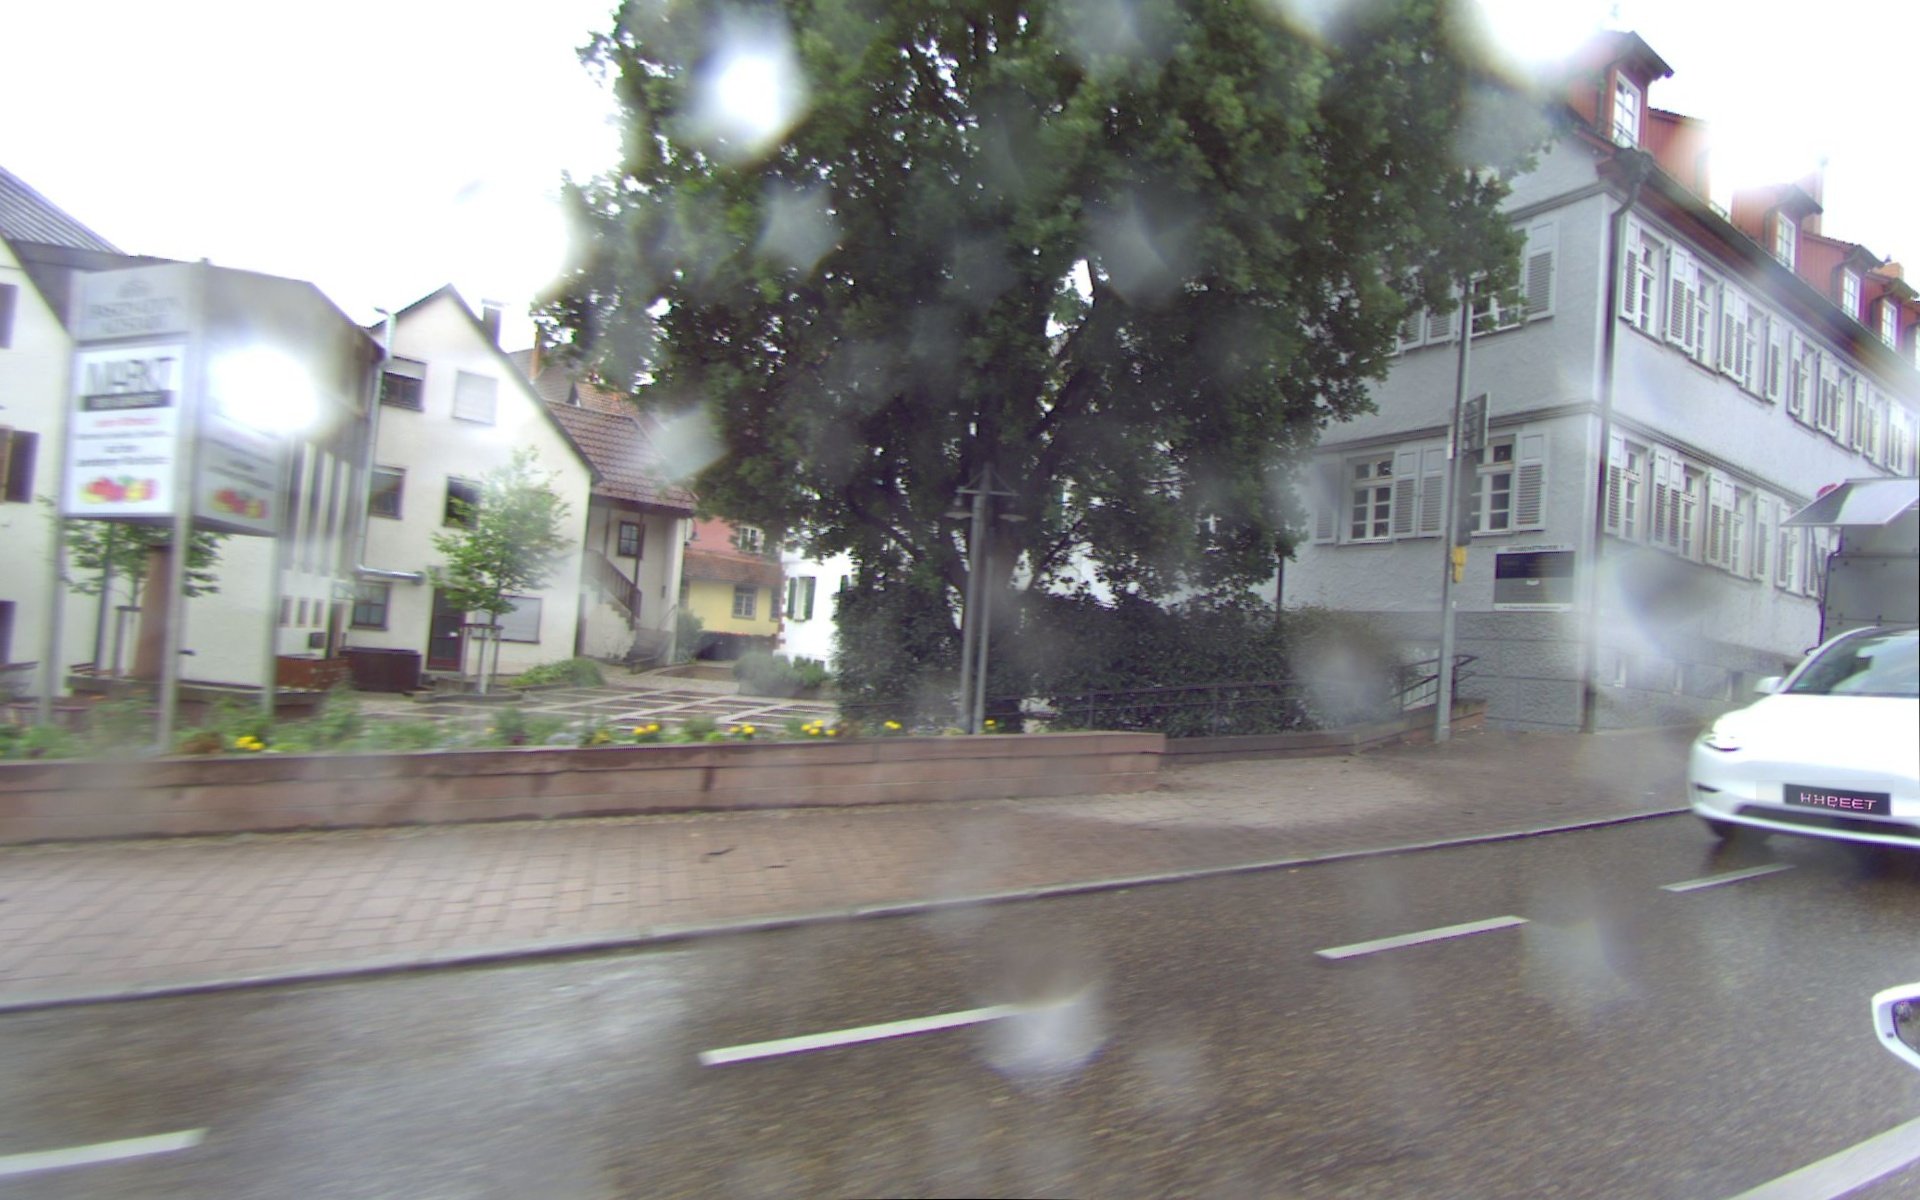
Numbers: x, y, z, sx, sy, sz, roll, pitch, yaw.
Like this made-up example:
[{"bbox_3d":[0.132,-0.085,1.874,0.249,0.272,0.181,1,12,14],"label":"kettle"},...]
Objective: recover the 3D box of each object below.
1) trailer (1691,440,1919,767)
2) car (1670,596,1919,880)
[{"bbox_3d":[11.698,0.077,13.022,4.523,3.581,1.983,1,0,-32],"label":"trailer"},{"bbox_3d":[7.381,0.903,7.385,4.256,1.683,1.866,2,-4,-30],"label":"car"}]
